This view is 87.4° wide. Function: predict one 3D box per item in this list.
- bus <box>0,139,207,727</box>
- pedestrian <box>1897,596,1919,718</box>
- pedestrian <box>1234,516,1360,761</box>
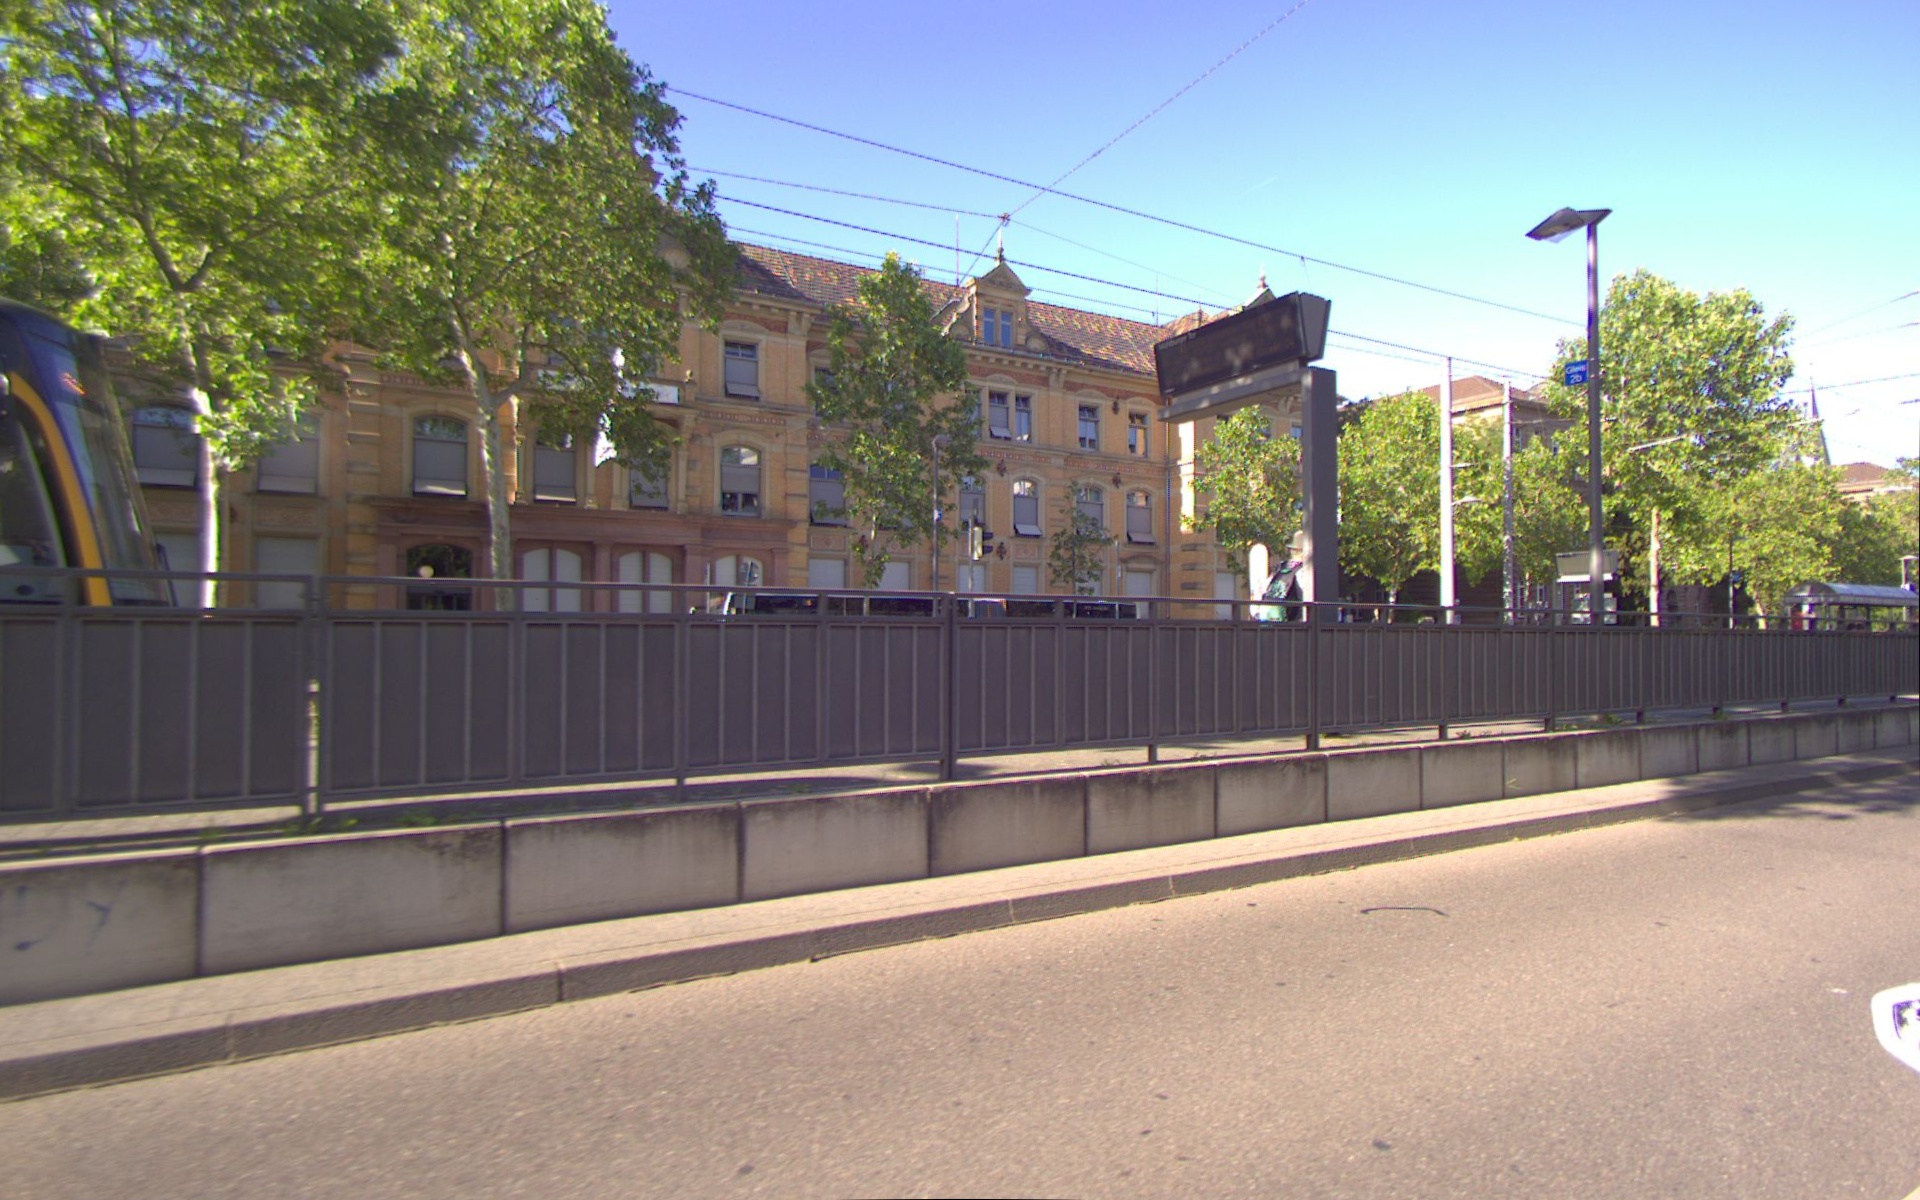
[{"bbox_3d":[-10.844,-1.012,4.621,11.472,3.489,2.856,1,-1,-30],"label":"bus"},{"bbox_3d":[15.964,0.928,16.482,0.804,1.980,0.636,0,0,-30],"label":"pedestrian"},{"bbox_3d":[2.871,0.310,8.579,0.804,1.980,0.636,0,0,-30],"label":"pedestrian"}]
